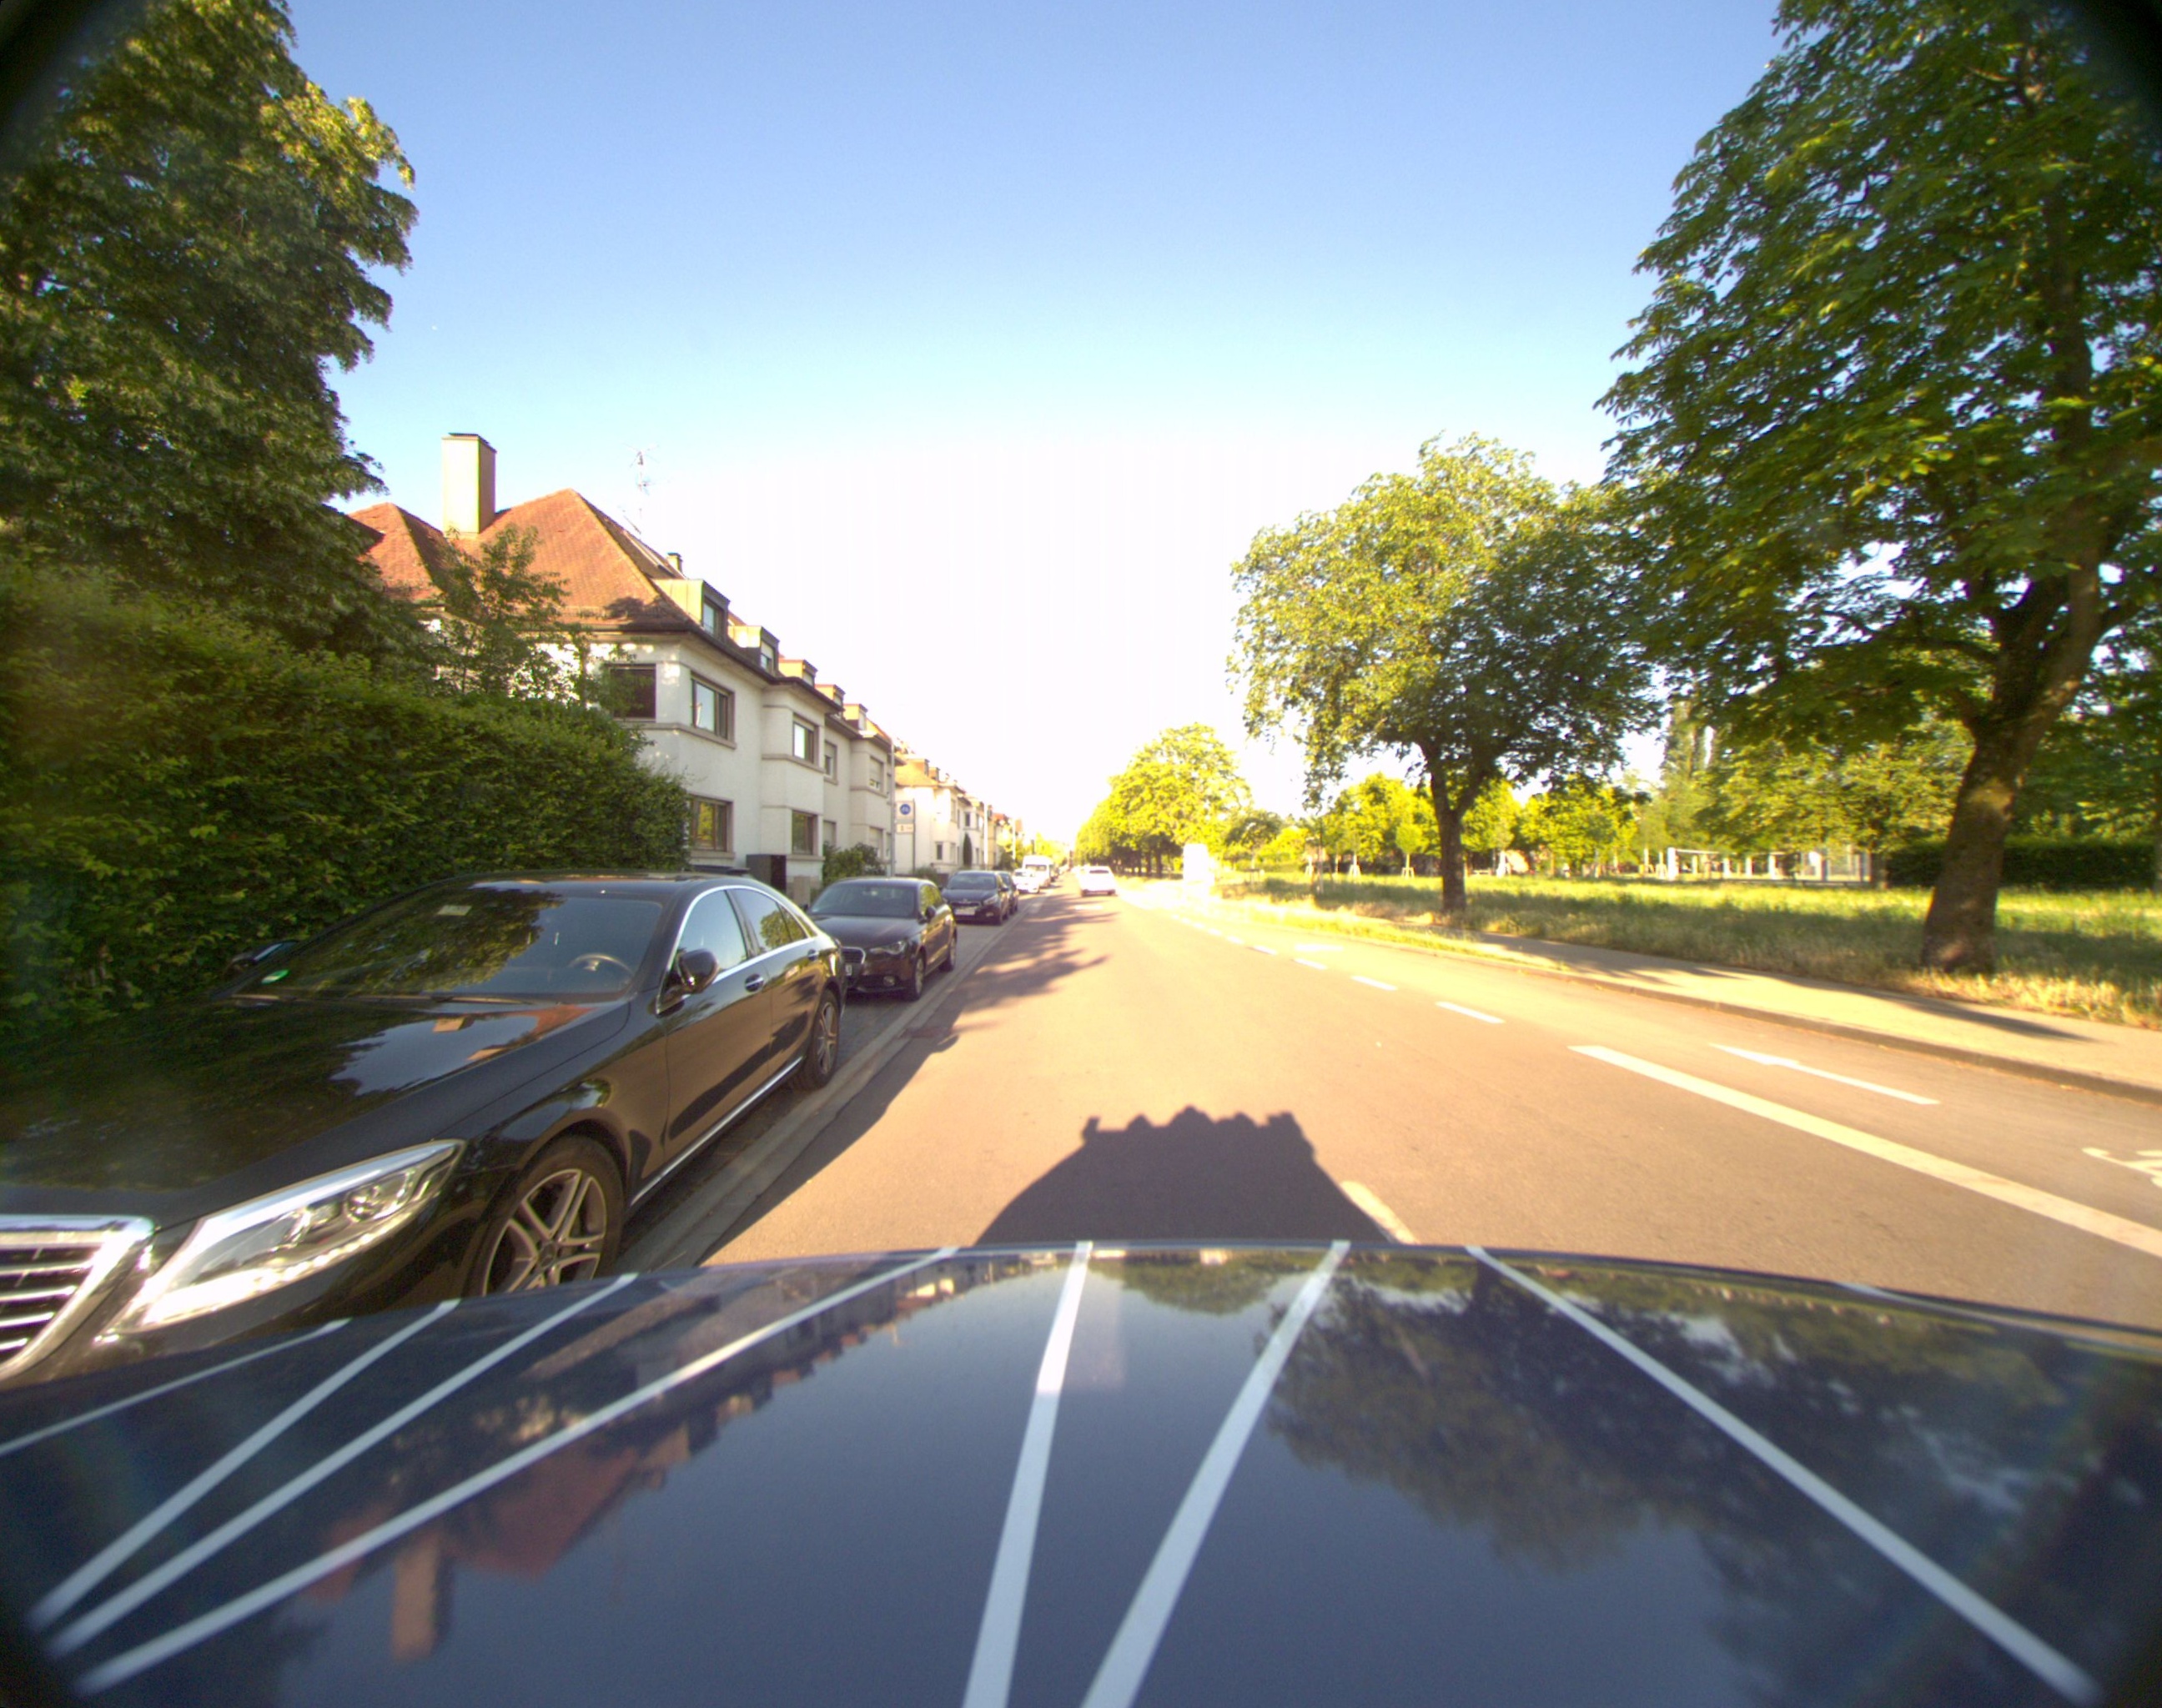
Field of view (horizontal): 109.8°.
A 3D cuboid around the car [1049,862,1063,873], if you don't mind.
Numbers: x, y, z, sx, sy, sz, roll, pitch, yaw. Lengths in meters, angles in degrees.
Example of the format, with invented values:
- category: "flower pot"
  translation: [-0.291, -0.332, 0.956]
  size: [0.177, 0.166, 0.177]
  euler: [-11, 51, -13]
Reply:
- category: "car"
  translation: [-3.768, 2.055, 115.932]
  size: [1.974, 1.630, 4.000]
  euler: [2, -1, -1]

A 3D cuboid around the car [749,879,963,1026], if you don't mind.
- category: "car"
  translation: [-2.663, 1.100, 9.932]
  size: [1.645, 1.419, 3.936]
  euler: [1, -1, -1]

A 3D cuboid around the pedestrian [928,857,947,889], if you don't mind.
- category: "pedestrian"
  translation: [-9.060, 1.197, 47.986]
  size: [1.089, 2.002, 0.865]
  euler: [0, 0, -16]

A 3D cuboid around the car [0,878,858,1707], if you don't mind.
- category: "car"
  translation: [-2.619, 0.954, 3.594]
  size: [1.864, 1.533, 4.872]
  euler: [1, -1, -3]

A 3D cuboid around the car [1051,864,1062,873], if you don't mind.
- category: "car"
  translation: [-4.376, 2.540, 135.473]
  size: [1.974, 1.630, 4.000]
  euler: [0, -1, -1]

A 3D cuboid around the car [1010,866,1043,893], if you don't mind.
- category: "car"
  translation: [-3.241, 1.509, 45.732]
  size: [1.787, 1.498, 4.233]
  euler: [-1, 0, -2]

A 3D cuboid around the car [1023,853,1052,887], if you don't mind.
- category: "car"
  translation: [-3.354, 1.200, 59.001]
  size: [2.135, 2.503, 5.507]
  euler: [1, -1, -2]

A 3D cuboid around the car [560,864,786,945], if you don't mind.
- category: "car"
  translation: [-8.247, 0.996, 15.645]
  size: [3.644, 1.487, 1.780]
  euler: [1, 0, -5]

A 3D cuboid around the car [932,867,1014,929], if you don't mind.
- category: "car"
  translation: [-2.949, 1.163, 21.505]
  size: [1.751, 1.466, 4.255]
  euler: [3, -1, -2]

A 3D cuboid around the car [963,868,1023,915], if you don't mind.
- category: "car"
  translation: [-3.035, 1.263, 26.837]
  size: [1.723, 1.462, 3.983]
  euler: [2, -1, -2]

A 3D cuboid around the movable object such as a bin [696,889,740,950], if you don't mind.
- category: "movable object such as a bin"
  translation: [-6.443, 1.155, 13.523]
  size: [0.509, 1.037, 0.658]
  euler: [-1, 0, -6]

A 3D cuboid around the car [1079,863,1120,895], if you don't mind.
- category: "car"
  translation: [0.999, 1.333, 42.715]
  size: [1.896, 1.666, 4.423]
  euler: [-1, 0, -4]

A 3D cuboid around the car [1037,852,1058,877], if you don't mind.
- category: "car"
  translation: [-3.893, 1.251, 89.428]
  size: [2.134, 2.837, 5.987]
  euler: [-1, -1, -1]
